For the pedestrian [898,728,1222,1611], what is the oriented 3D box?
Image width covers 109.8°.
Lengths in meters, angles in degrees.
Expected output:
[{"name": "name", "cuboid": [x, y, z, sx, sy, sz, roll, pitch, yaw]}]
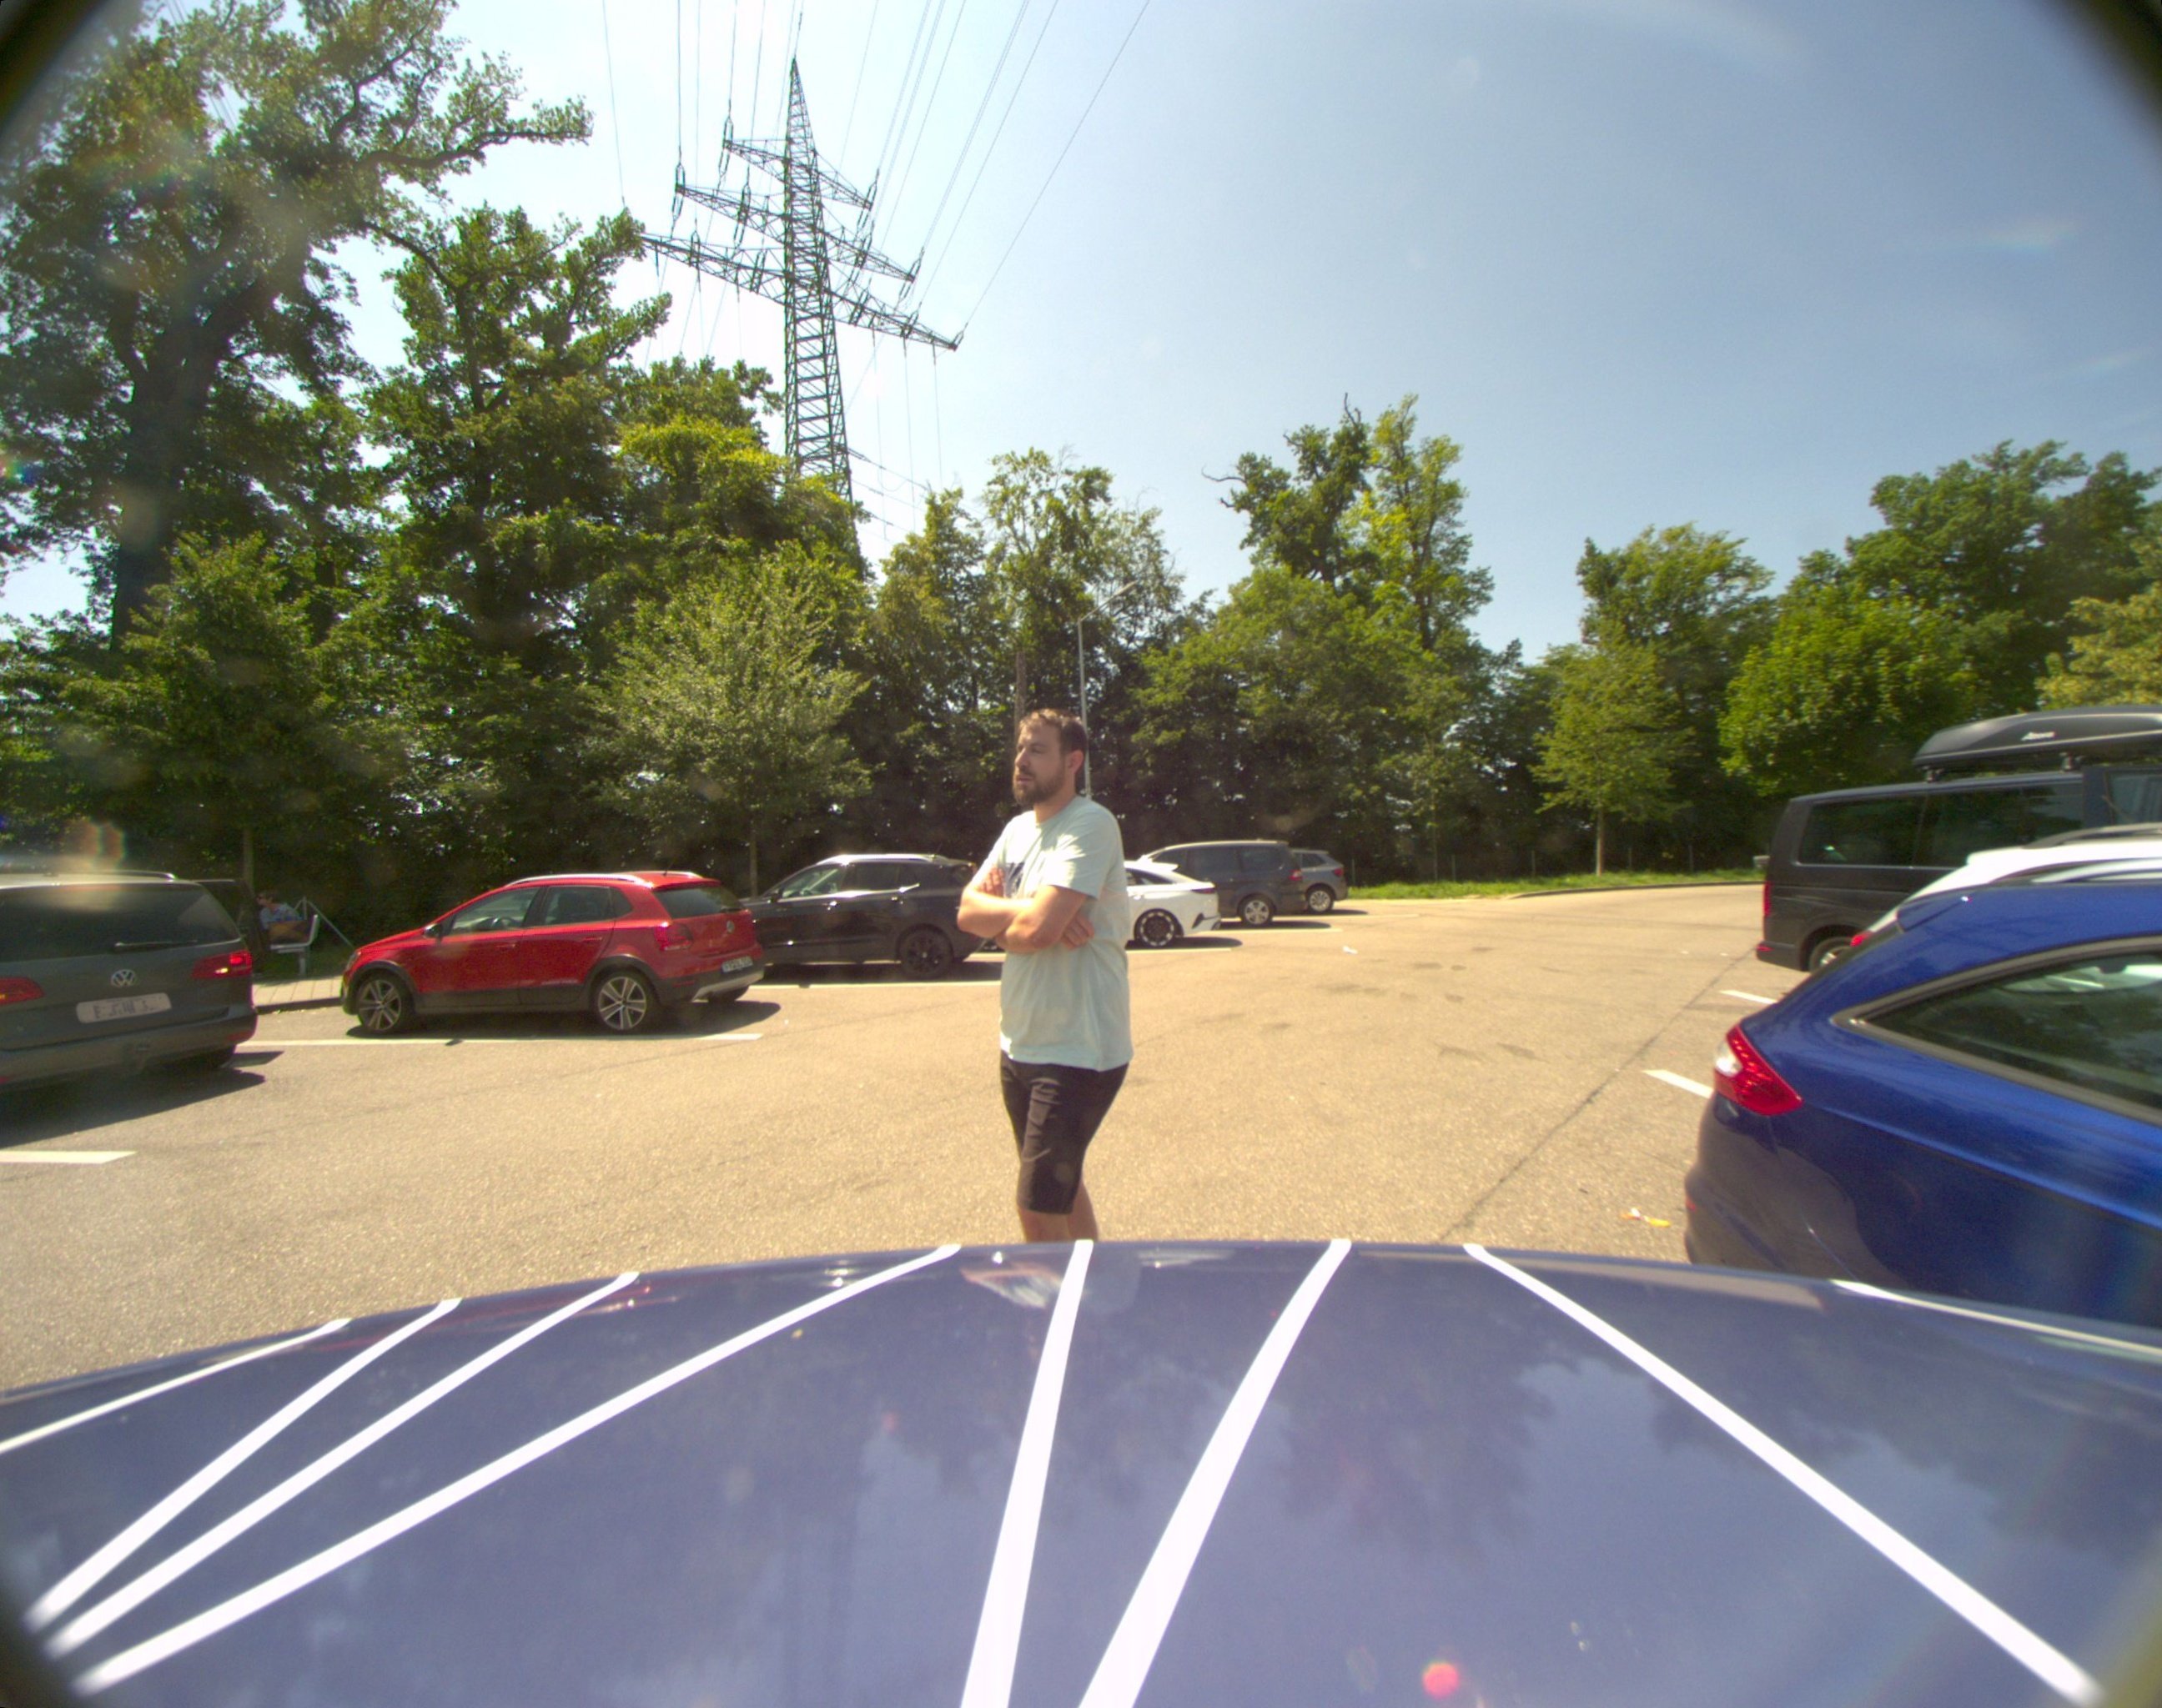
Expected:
[{"name": "pedestrian", "cuboid": [-0.113, 0.662, 2.048, 0.634, 1.857, 0.747, -2, 0, -17]}]

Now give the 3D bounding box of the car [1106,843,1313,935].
[{"name": "car", "cuboid": [2.513, 0.681, 15.470, 3.882, 1.680, 1.882, -1, 0, 5]}]

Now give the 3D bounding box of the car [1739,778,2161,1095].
[{"name": "car", "cuboid": [7.311, 0.456, 5.004, 2.048, 1.850, 4.430, -2, -1, -1]}]

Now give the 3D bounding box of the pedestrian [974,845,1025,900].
[{"name": "pedestrian", "cuboid": [-1.995, 0.449, 18.655, 0.890, 1.292, 0.865, -2, 0, 23]}]

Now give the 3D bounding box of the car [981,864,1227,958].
[{"name": "car", "cuboid": [0.411, 0.907, 12.720, 3.805, 1.359, 1.803, -1, 1, 5]}]

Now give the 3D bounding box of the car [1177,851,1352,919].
[{"name": "car", "cuboid": [4.260, 0.708, 18.095, 3.805, 1.468, 1.743, -1, 1, 5]}]

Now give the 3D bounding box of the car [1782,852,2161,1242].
[{"name": "car", "cuboid": [4.784, 0.701, 2.407, 1.607, 1.405, 3.743, -2, -1, -1]}]

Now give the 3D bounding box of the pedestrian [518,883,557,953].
[{"name": "pedestrian", "cuboid": [-10.950, 1.280, 15.318, 0.490, 1.367, 0.506, -2, 0, 41]}]

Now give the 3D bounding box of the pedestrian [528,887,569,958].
[{"name": "pedestrian", "cuboid": [-10.165, 1.297, 14.512, 0.490, 1.291, 0.506, -2, 0, 41]}]

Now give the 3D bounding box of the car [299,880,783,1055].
[{"name": "car", "cuboid": [-5.237, 1.063, 7.642, 3.804, 1.449, 1.637, -1, 1, 7]}]

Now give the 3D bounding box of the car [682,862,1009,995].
[{"name": "car", "cuboid": [-3.003, 0.938, 10.270, 3.806, 1.538, 1.759, -1, 1, 2]}]

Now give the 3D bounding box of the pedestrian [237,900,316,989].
[{"name": "pedestrian", "cuboid": [-11.744, 1.304, 11.096, 0.680, 1.211, 0.675, -4, -2, 36]}]

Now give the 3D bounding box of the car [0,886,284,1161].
[{"name": "car", "cuboid": [-8.338, 1.093, 5.426, 3.950, 1.581, 1.753, -1, 1, 11]}]
